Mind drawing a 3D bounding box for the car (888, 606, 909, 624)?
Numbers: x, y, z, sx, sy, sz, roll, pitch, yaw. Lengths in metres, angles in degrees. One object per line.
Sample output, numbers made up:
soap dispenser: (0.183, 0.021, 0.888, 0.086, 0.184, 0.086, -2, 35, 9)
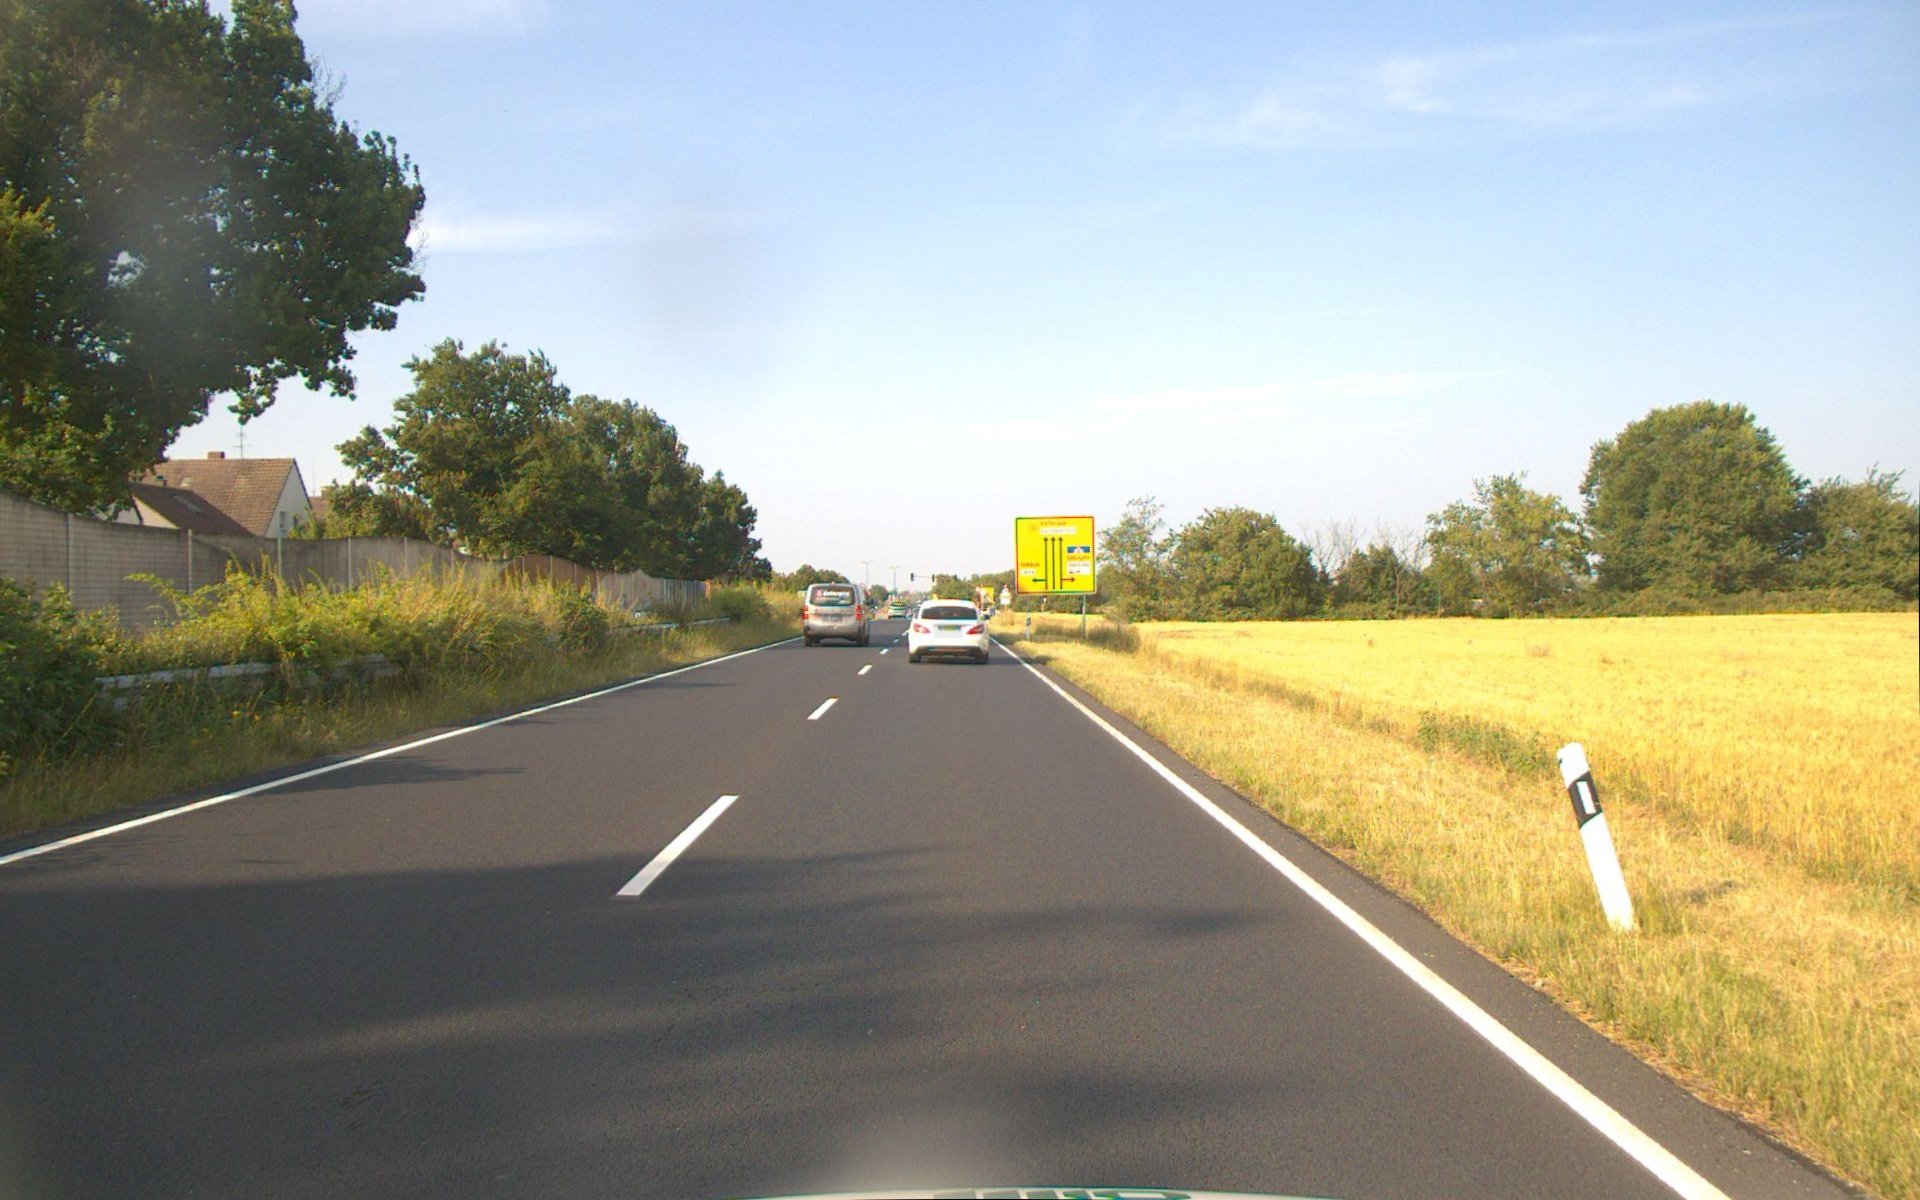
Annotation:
car: (-5.187, 1.241, 139.195, 1.682, 1.518, 3.584, 1, 0, -1)

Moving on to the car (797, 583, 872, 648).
car: (-3.876, 0.451, 51.828, 1.984, 1.925, 4.958, 1, 0, 0)

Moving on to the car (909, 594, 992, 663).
car: (-0.267, 0.657, 38.988, 1.856, 1.535, 3.999, 0, 0, -1)

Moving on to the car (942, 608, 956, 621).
car: (-1.354, 1.824, 208.166, 1.718, 1.543, 3.999, -1, 0, -1)

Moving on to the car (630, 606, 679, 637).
car: (-14.926, 1.042, 80.986, 1.615, 1.384, 4.288, 2, 0, -1)
